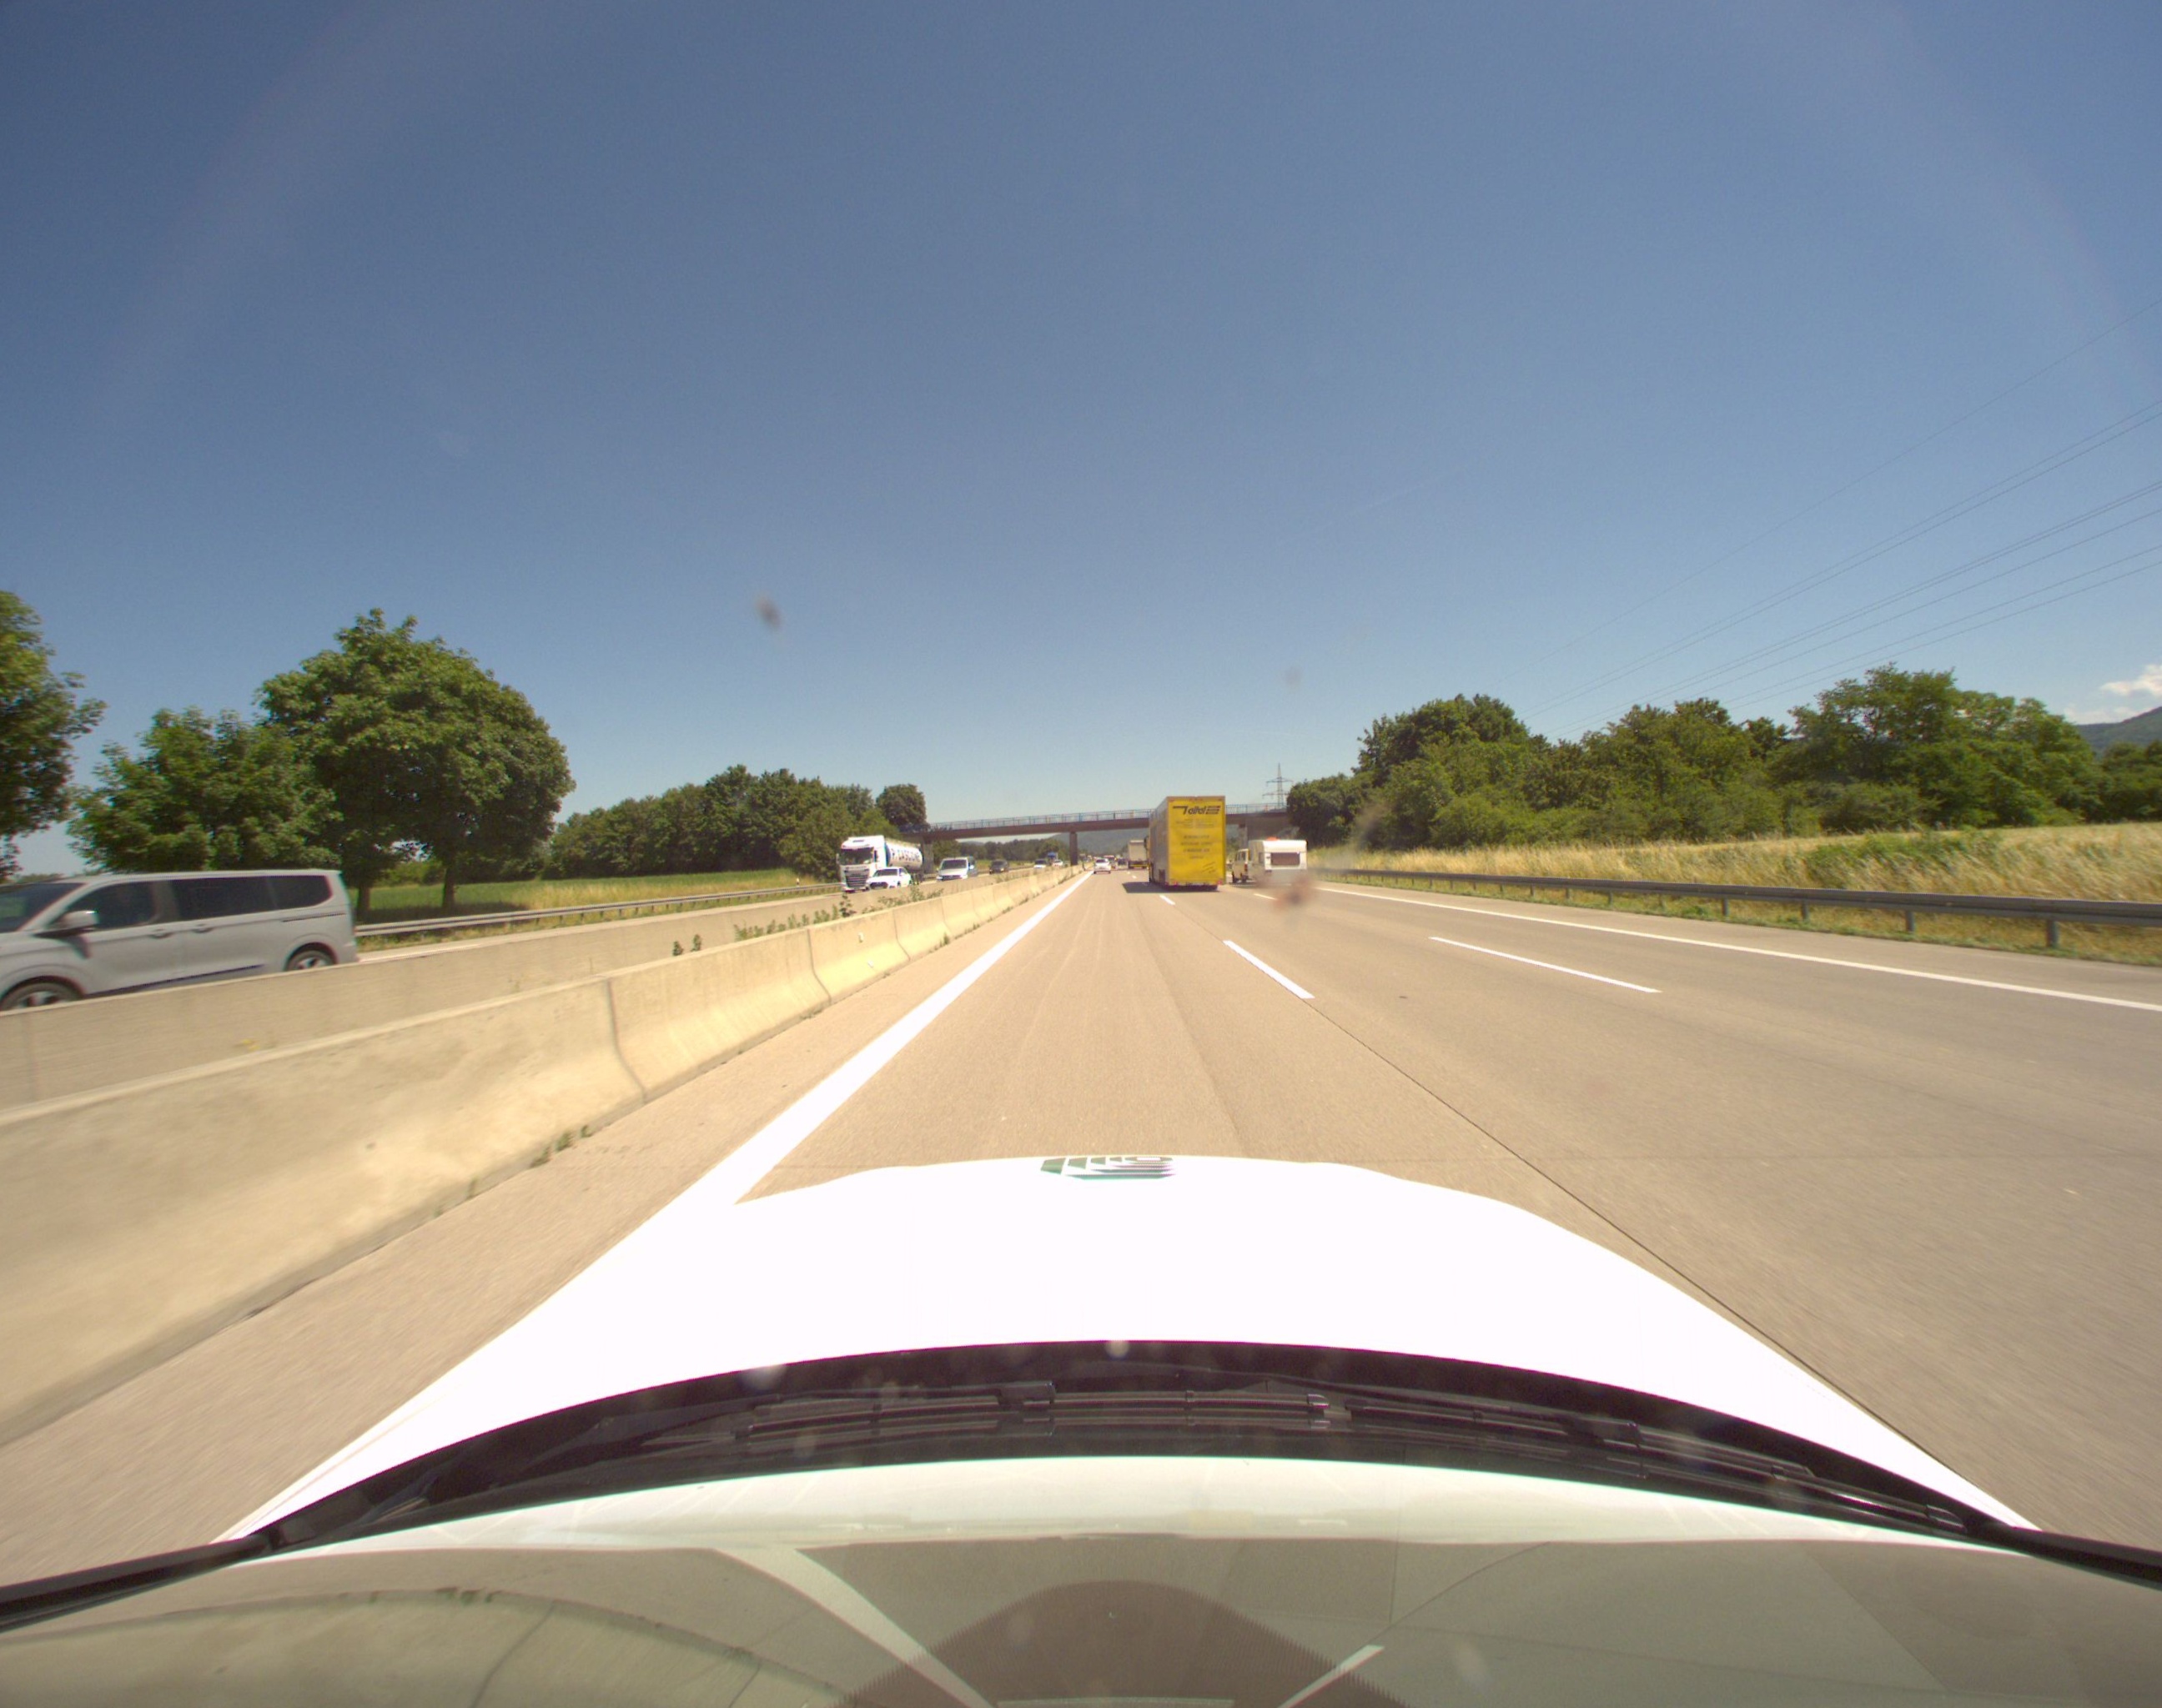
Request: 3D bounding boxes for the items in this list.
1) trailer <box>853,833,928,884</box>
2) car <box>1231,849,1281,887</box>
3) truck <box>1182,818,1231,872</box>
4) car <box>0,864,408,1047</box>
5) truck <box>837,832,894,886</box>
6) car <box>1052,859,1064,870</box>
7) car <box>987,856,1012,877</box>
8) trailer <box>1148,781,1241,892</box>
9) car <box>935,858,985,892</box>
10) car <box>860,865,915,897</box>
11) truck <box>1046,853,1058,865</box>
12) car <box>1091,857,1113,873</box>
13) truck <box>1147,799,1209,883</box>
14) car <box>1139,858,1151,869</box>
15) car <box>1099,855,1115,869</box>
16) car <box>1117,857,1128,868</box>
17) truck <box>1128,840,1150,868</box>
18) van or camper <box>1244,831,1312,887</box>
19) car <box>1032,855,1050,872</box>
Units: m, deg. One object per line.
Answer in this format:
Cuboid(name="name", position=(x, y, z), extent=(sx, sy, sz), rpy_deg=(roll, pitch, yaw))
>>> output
Cuboid(name="trailer", position=(-14.754, 0.322, 64.403), extent=(2.564, 3.630, 12.860), rpy_deg=(0, 0, 2))
Cuboid(name="car", position=(9.603, 0.733, 44.943), extent=(1.986, 2.013, 4.001), rpy_deg=(0, 0, 1))
Cuboid(name="truck", position=(10.640, -0.691, 70.075), extent=(2.987, 4.314, 9.688), rpy_deg=(0, 0, 2))
Cuboid(name="car", position=(-12.694, 1.196, 11.160), extent=(1.986, 1.939, 5.691), rpy_deg=(-4, 0, 2))
Cuboid(name="truck", position=(-14.962, 0.361, 56.854), extent=(2.592, 3.589, 4.721), rpy_deg=(0, 0, 1))
Cuboid(name="car", position=(-4.094, 1.818, 146.815), extent=(1.859, 1.839, 4.790), rpy_deg=(-2, 0, 2))
Cuboid(name="car", position=(-9.368, 1.415, 93.796), extent=(1.986, 2.138, 5.884), rpy_deg=(-4, 0, 2))
Cuboid(name="trailer", position=(5.231, -0.731, 40.371), extent=(3.203, 4.563, 13.463), rpy_deg=(0, 0, 2))
Cuboid(name="car", position=(-7.137, 1.187, 48.454), extent=(1.986, 1.735, 5.116), rpy_deg=(-4, 0, 1))
Cuboid(name="car", position=(-11.343, 1.529, 48.115), extent=(1.916, 1.611, 4.687), rpy_deg=(-3, 0, 2))
Cuboid(name="truck", position=(-8.686, 1.590, 244.068), extent=(2.974, 3.560, 7.495), rpy_deg=(0, 0, 2))
Cuboid(name="car", position=(2.104, 1.069, 81.243), extent=(2.098, 1.536, 4.125), rpy_deg=(0, 0, 3))
Cuboid(name="truck", position=(5.531, -0.734, 47.380), extent=(3.203, 4.563, 5.840), rpy_deg=(0, 0, 3))
Cuboid(name="car", position=(11.601, 1.700, 148.469), extent=(1.986, 2.013, 4.001), rpy_deg=(0, 0, 2))
Cuboid(name="car", position=(3.841, 1.189, 119.019), extent=(2.245, 2.013, 4.300), rpy_deg=(0, 0, 3))
Cuboid(name="car", position=(8.354, 1.690, 163.524), extent=(2.214, 2.013, 4.001), rpy_deg=(0, 0, 1))
Cuboid(name="truck", position=(7.999, 0.004, 113.026), extent=(2.809, 3.761, 6.286), rpy_deg=(0, 0, 2))
Cuboid(name="van or camper", position=(9.608, 0.222, 40.186), extent=(2.216, 2.531, 5.433), rpy_deg=(0, 0, 2))
Cuboid(name="car", position=(-5.177, 1.222, 106.494), extent=(1.859, 1.980, 4.790), rpy_deg=(-3, 0, 2))
